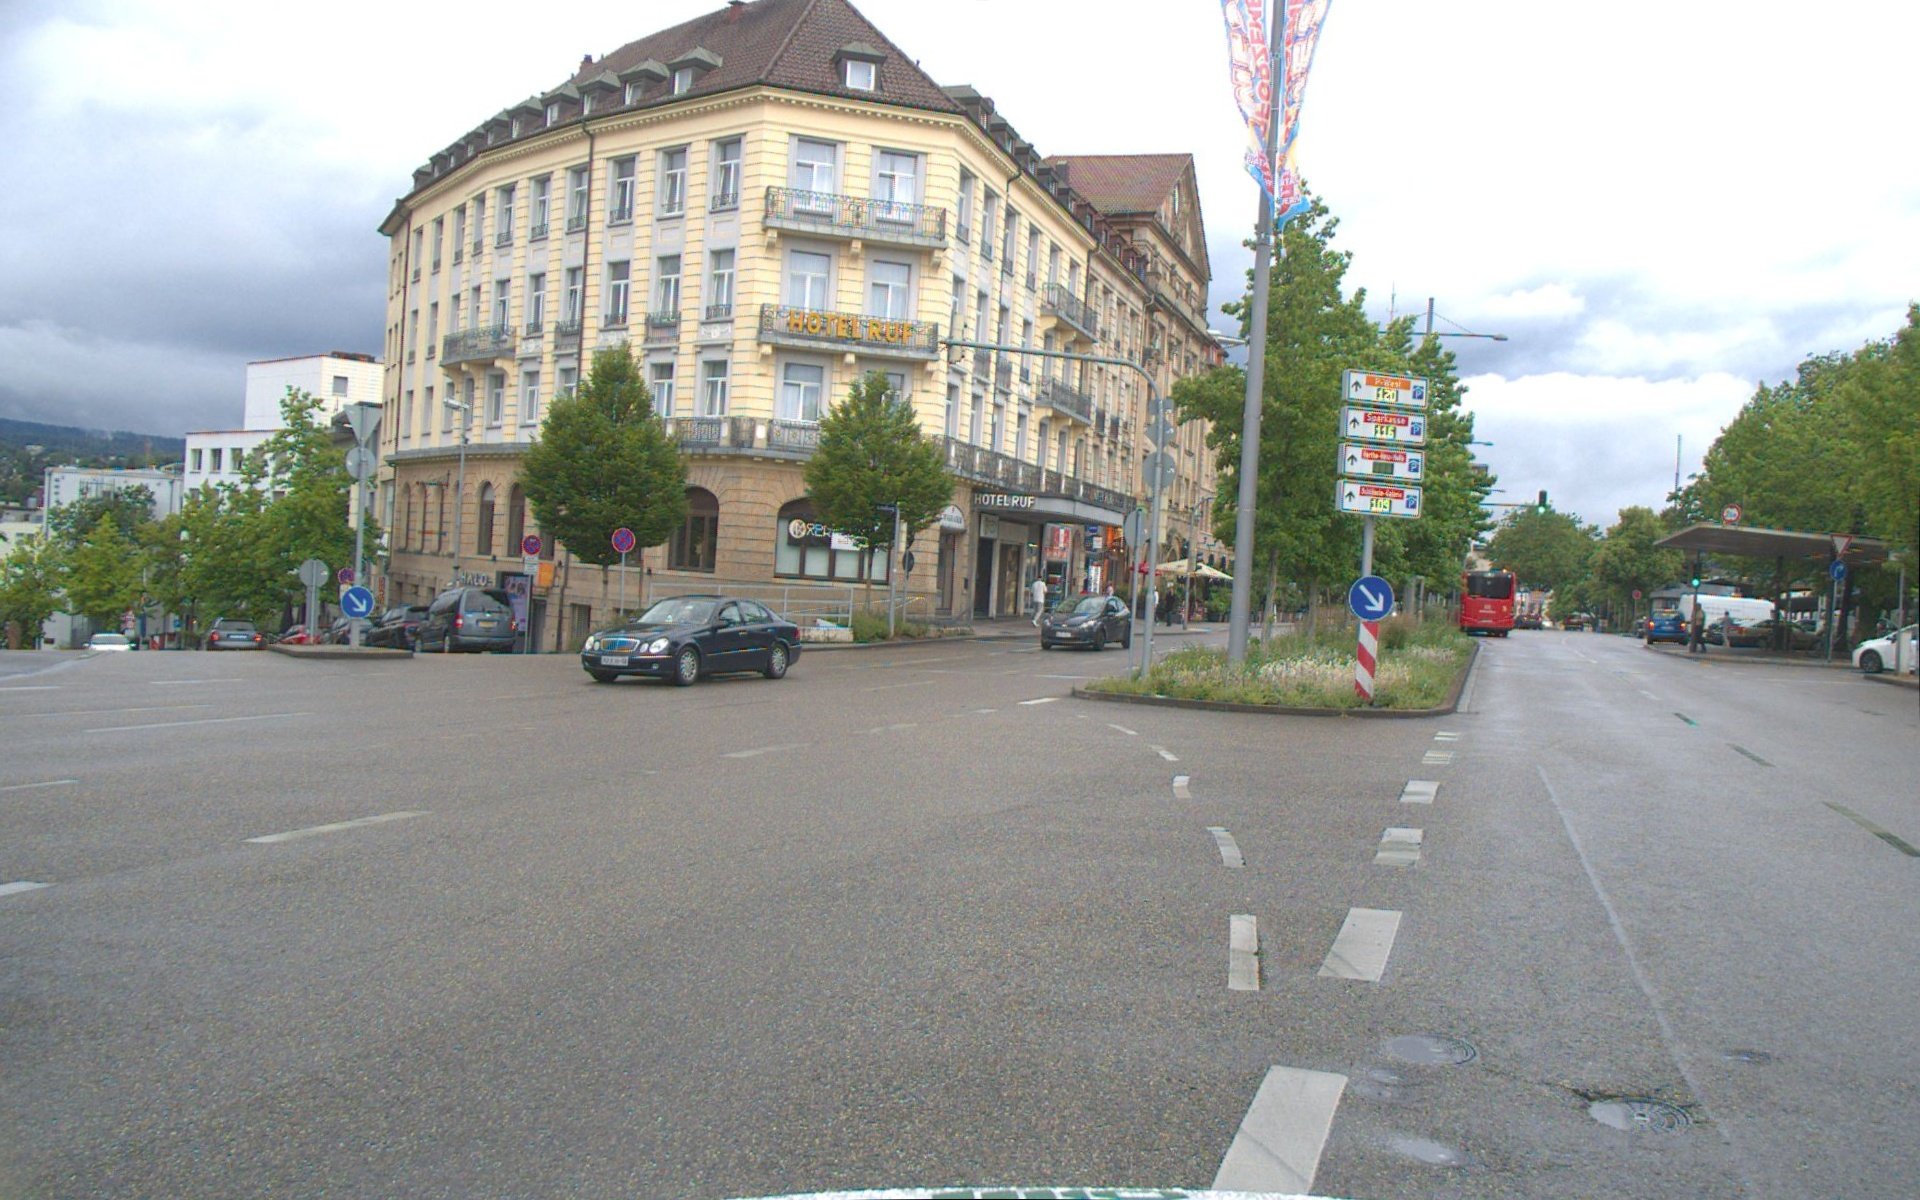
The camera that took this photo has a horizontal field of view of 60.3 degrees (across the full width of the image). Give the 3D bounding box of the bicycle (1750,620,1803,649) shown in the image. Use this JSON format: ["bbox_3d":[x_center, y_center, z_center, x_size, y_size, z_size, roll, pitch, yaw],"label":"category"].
[{"bbox_3d":[31.284,1.314,63.391,1.790,1.074,0.420,1,-1,1],"label":"bicycle"}]

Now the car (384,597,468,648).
[{"bbox_3d":[-16.408,0.678,50.675,1.613,1.422,3.959,1,1,-31],"label":"car"}]

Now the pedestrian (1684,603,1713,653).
[{"bbox_3d":[26.614,1.000,59.594,0.730,1.777,0.837,2,-1,11],"label":"pedestrian"}]

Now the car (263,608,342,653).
[{"bbox_3d":[-23.675,1.082,59.484,1.750,1.504,3.960,1,0,-35],"label":"car"}]

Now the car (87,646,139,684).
[{"bbox_3d":[-35.192,2.679,68.679,1.614,1.422,3.957,1,0,-31],"label":"car"}]

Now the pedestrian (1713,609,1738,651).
[{"bbox_3d":[34.819,1.355,75.225,0.838,1.867,1.190,2,-1,18],"label":"pedestrian"}]

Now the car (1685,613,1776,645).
[{"bbox_3d":[40.274,1.522,86.477,3.912,1.468,1.861,2,0,-8],"label":"car"}]

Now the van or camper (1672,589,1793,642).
[{"bbox_3d":[42.929,0.863,91.973,5.835,2.811,2.194,1,-1,-8],"label":"van or camper"}]

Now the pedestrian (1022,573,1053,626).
[{"bbox_3d":[2.690,-0.013,57.539,0.861,1.844,0.751,1,-1,19],"label":"pedestrian"}]

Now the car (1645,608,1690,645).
[{"bbox_3d":[32.946,1.239,77.067,1.821,1.596,3.999,2,0,22],"label":"car"}]

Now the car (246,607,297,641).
[{"bbox_3d":[-32.233,1.096,77.373,1.745,1.504,3.961,1,0,-29],"label":"car"}]

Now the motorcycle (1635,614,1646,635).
[{"bbox_3d":[44.927,1.621,109.152,0.583,1.310,1.952,1,0,24],"label":"motorcycle"}]

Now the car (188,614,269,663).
[{"bbox_3d":[-24.307,1.258,54.909,1.680,1.491,4.398,1,0,-34],"label":"car"}]

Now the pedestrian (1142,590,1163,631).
[{"bbox_3d":[8.150,0.451,69.943,0.667,1.693,0.807,1,-1,22],"label":"pedestrian"}]

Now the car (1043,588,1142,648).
[{"bbox_3d":[3.658,0.499,45.100,1.642,1.539,3.863,1,0,22],"label":"car"}]

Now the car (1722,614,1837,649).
[{"bbox_3d":[35.996,1.377,72.703,4.100,1.348,1.840,2,0,-1],"label":"car"}]

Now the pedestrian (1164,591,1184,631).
[{"bbox_3d":[9.010,0.460,69.695,0.667,1.693,0.807,1,-1,19],"label":"pedestrian"}]

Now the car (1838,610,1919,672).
[{"bbox_3d":[25.706,1.109,43.422,1.732,1.573,4.748,2,0,-20],"label":"car"}]

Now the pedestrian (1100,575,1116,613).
[{"bbox_3d":[6.695,-0.253,74.719,0.652,1.693,0.537,1,-1,10],"label":"pedestrian"}]

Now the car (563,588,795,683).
[{"bbox_3d":[-4.639,0.572,27.850,1.917,1.447,3.997,1,0,25],"label":"car"}]

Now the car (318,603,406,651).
[{"bbox_3d":[-19.822,0.880,54.724,1.750,1.504,3.950,1,0,-35],"label":"car"}]

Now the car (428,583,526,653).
[{"bbox_3d":[-13.214,0.466,45.127,1.613,1.790,3.959,1,1,-31],"label":"car"}]

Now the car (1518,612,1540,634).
[{"bbox_3d":[55.703,2.266,162.023,1.952,2.049,4.001,1,0,19],"label":"car"}]

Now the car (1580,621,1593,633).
[{"bbox_3d":[88.729,3.808,234.307,1.610,1.690,3.651,1,0,19],"label":"car"}]

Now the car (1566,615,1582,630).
[{"bbox_3d":[68.333,2.481,183.972,1.561,1.588,3.651,1,0,19],"label":"car"}]

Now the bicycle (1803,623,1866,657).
[{"bbox_3d":[28.911,1.305,54.701,1.789,1.074,0.420,1,-1,19],"label":"bicycle"}]

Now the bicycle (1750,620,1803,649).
[{"bbox_3d":[31.080,1.308,62.932,1.790,1.074,0.420,1,-1,1],"label":"bicycle"}]

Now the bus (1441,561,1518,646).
[{"bbox_3d":[26.676,0.210,84.705,3.471,4.049,11.175,1,0,18],"label":"bus"}]

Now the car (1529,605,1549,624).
[{"bbox_3d":[61.725,1.537,176.294,1.952,2.049,4.001,1,0,19],"label":"car"}]
